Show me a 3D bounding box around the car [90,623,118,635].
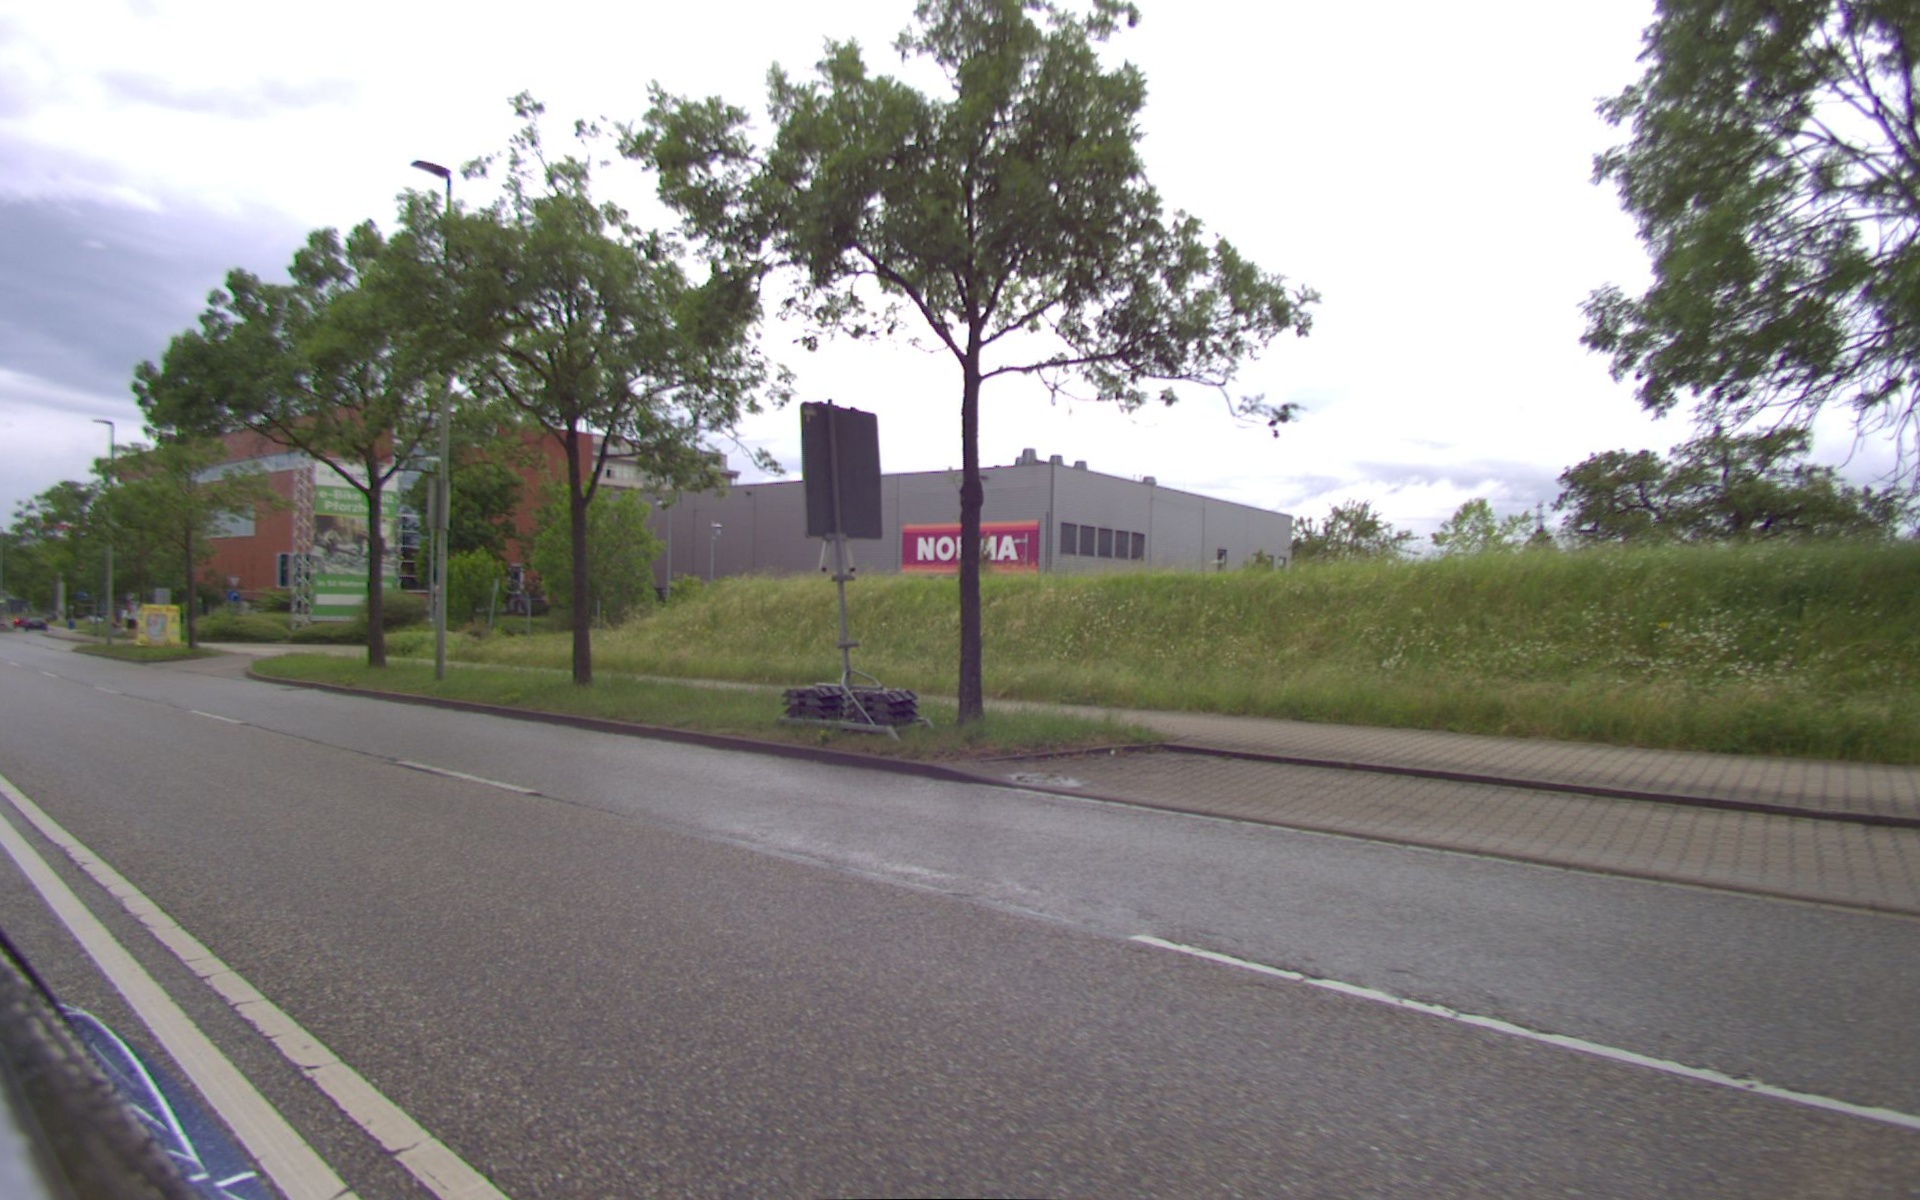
[{"bbox_3d":[-113.692,3.810,134.418,4.431,1.630,1.812,-1,-2,36],"label":"car"}]

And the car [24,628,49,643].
[{"bbox_3d":[-94.121,3.605,103.140,1.716,1.465,4.003,3,-3,-44],"label":"car"}]

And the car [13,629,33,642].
[{"bbox_3d":[-115.459,4.399,124.686,1.656,1.518,4.219,2,-3,-44],"label":"car"}]
